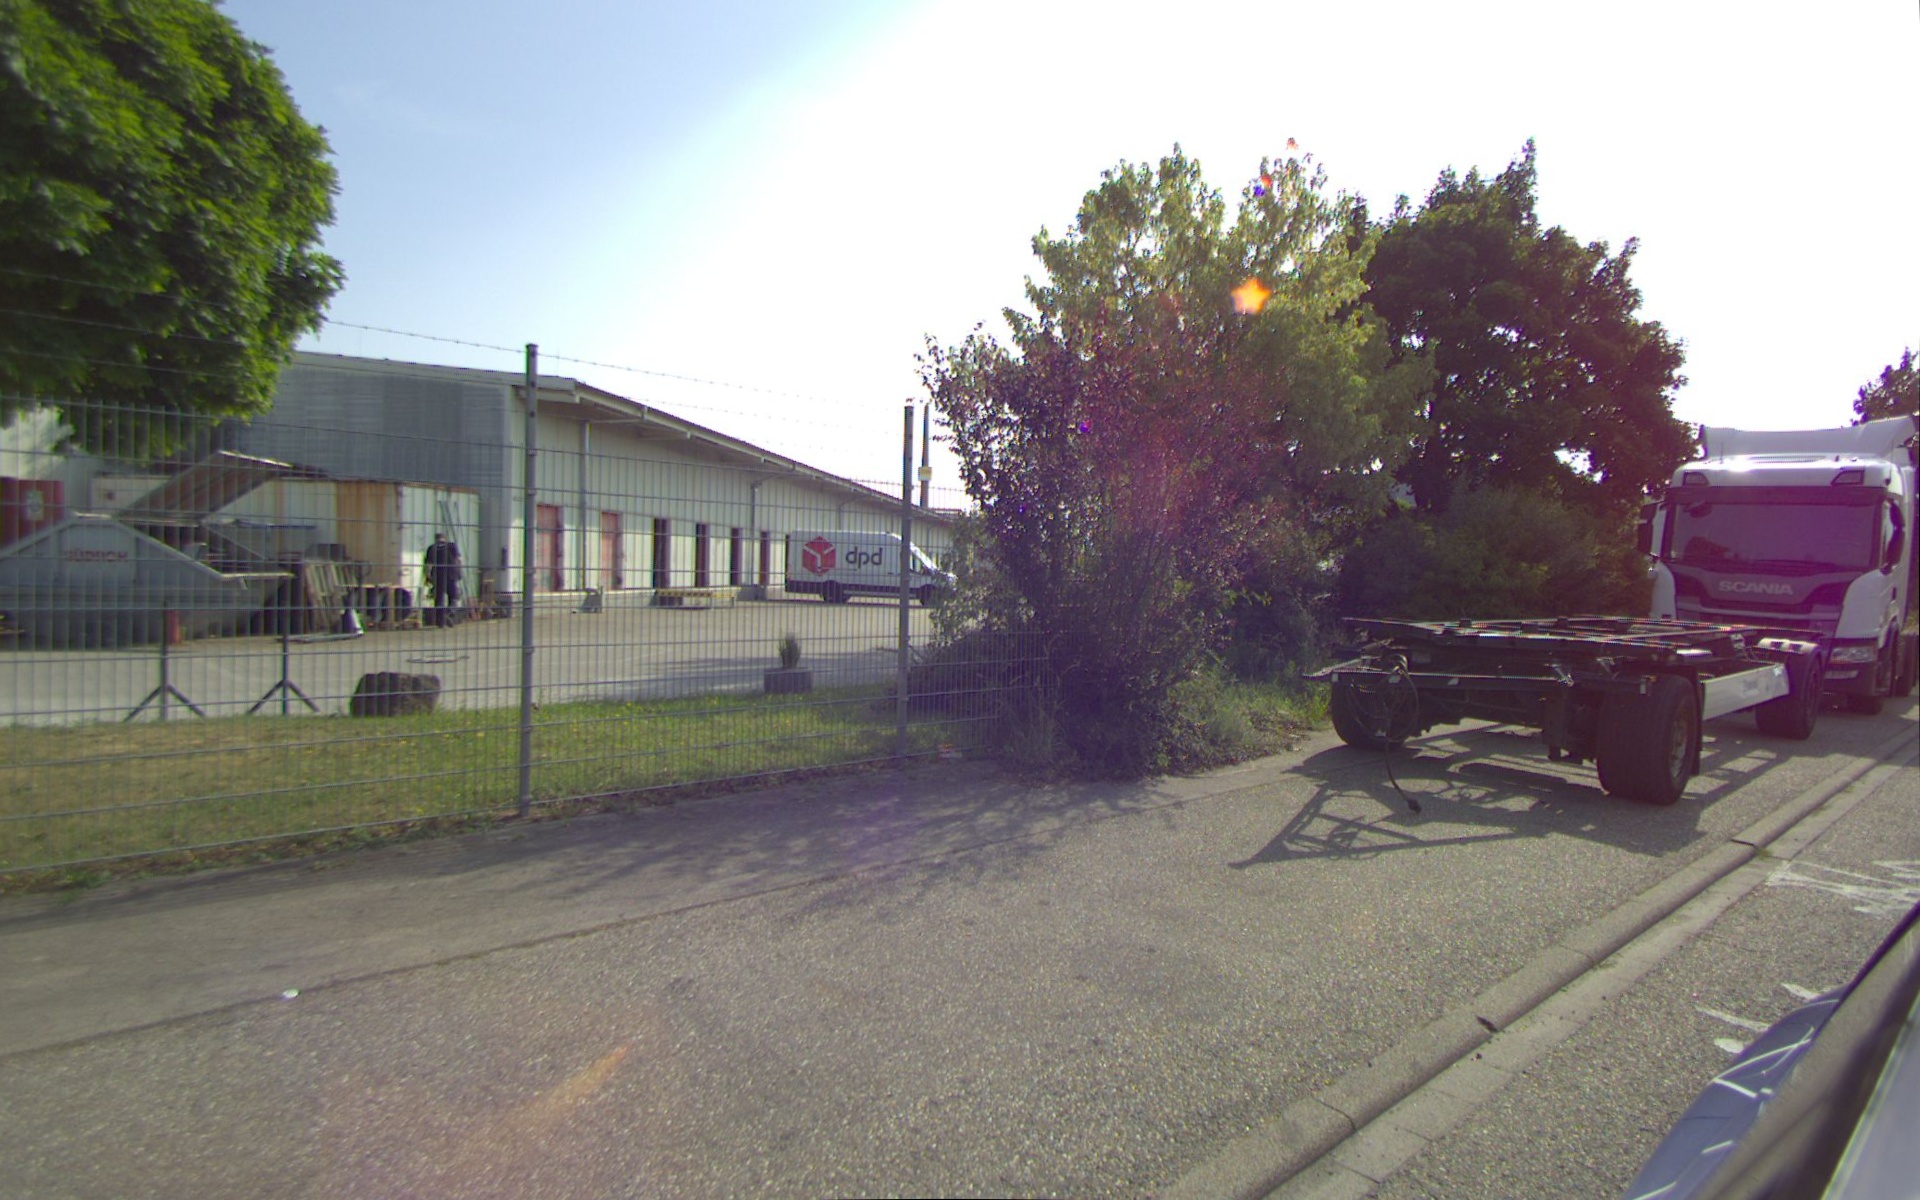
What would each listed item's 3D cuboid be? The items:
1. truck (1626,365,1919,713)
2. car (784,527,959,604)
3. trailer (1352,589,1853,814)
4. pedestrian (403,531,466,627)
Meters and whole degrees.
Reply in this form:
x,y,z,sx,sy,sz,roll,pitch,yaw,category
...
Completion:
x,y,z,sx,sy,sz,roll,pitch,yaw,category
12.217,-0.806,14.679,5.945,4.012,2.697,0,4,-43,truck
-3.259,-1.308,37.915,6.169,2.681,2.208,2,1,9,car
6.317,0.597,9.286,7.323,1.250,1.942,0,4,-42,trailer
-9.787,-0.394,18.858,0.847,1.743,0.628,2,1,18,pedestrian
